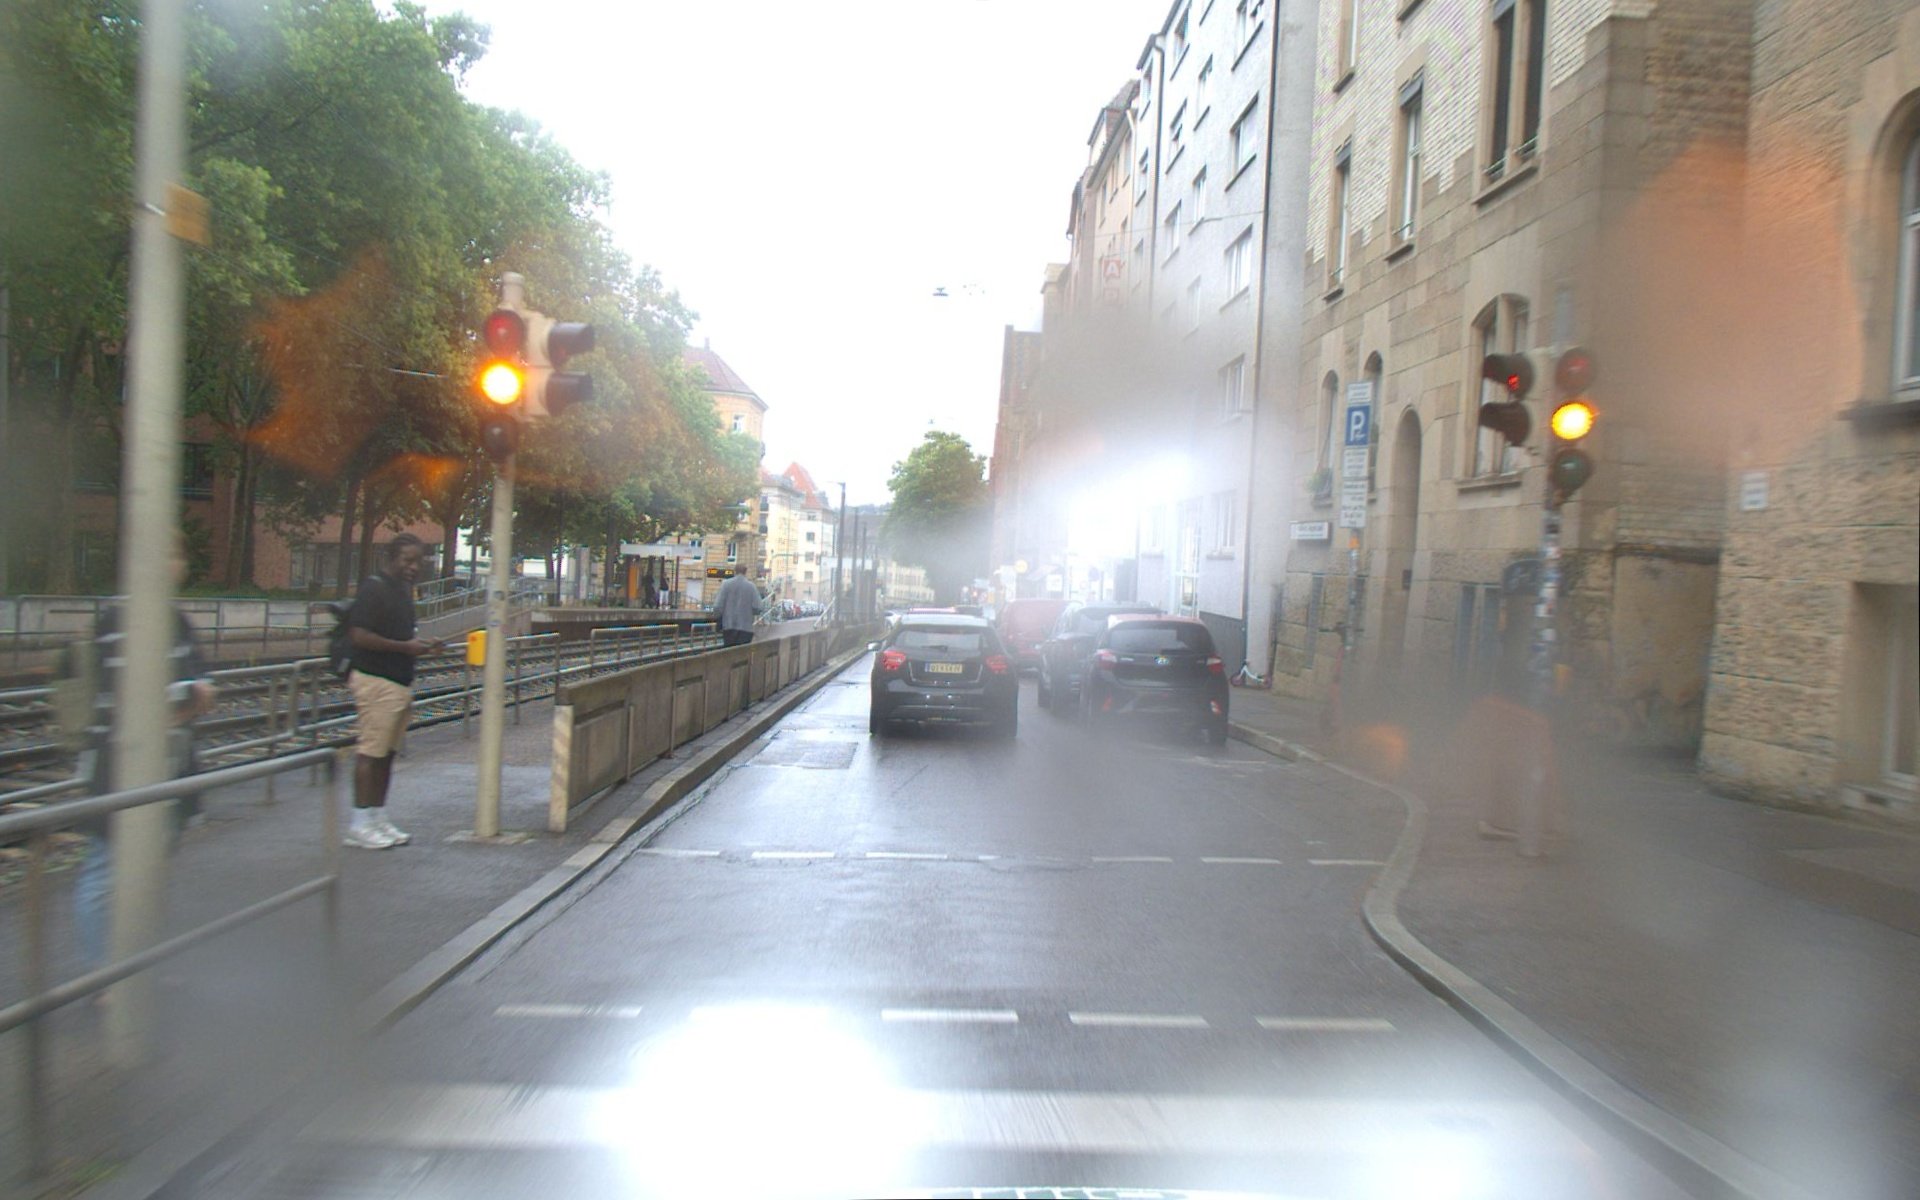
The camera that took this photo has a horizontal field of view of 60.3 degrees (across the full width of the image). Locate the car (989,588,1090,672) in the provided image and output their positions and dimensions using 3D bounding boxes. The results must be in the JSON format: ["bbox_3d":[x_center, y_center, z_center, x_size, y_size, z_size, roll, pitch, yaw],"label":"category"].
[{"bbox_3d":[1.907,0.727,41.232,1.936,1.870,5.242,2,-1,-3],"label":"car"}]

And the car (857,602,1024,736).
[{"bbox_3d":[-0.243,0.786,20.752,1.856,1.414,4.000,2,1,-1],"label":"car"}]

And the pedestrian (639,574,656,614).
[{"bbox_3d":[-13.870,-0.265,73.348,0.551,1.745,0.705,3,0,-3],"label":"pedestrian"}]

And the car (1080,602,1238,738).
[{"bbox_3d":[2.419,0.801,20.825,1.627,1.477,3.610,3,0,2],"label":"car"}]

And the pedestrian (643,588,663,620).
[{"bbox_3d":[-14.164,0.180,76.281,0.762,1.386,0.564,3,0,-4],"label":"pedestrian"}]

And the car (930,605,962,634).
[{"bbox_3d":[-1.017,1.353,116.440,1.895,1.863,4.277,3,0,-4],"label":"car"}]

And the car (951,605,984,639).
[{"bbox_3d":[0.413,1.332,101.014,1.882,1.970,4.684,2,-1,0],"label":"car"}]

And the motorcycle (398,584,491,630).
[{"bbox_3d":[-23.317,0.319,74.889,3.787,1.847,1.005,3,-1,-3],"label":"motorcycle"}]

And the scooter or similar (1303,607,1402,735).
[{"bbox_3d":[4.270,0.765,18.082,0.360,1.338,1.562,0,-2,-14],"label":"scooter or similar"}]

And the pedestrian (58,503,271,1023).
[{"bbox_3d":[-2.679,0.529,5.601,0.423,1.667,0.481,3,0,-2],"label":"pedestrian"}]

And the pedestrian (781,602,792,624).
[{"bbox_3d":[-14.366,1.048,136.927,0.745,1.780,0.645,2,0,0],"label":"pedestrian"}]

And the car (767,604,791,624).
[{"bbox_3d":[-18.110,1.407,165.757,1.953,1.892,3.999,1,0,-1],"label":"car"}]

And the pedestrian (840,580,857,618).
[{"bbox_3d":[-4.848,-0.029,71.899,0.485,1.633,0.637,2,-1,15],"label":"pedestrian"}]

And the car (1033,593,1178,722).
[{"bbox_3d":[2.130,0.798,25.393,1.730,1.738,4.498,2,0,-1],"label":"car"}]

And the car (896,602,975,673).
[{"bbox_3d":[-0.602,0.847,38.479,1.646,1.515,3.610,2,0,-3],"label":"car"}]

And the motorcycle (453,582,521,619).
[{"bbox_3d":[-23.258,0.039,81.404,2.997,1.656,1.005,3,-1,-3],"label":"motorcycle"}]

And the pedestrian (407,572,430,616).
[{"bbox_3d":[-25.373,-0.272,77.500,0.718,2.049,0.980,3,-1,-3],"label":"pedestrian"}]

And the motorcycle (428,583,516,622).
[{"bbox_3d":[-23.065,0.106,78.267,3.787,1.633,1.005,3,-1,-3],"label":"motorcycle"}]

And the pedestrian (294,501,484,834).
[{"bbox_3d":[-3.135,0.352,9.106,0.637,1.734,0.661,3,0,21],"label":"pedestrian"}]

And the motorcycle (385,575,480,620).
[{"bbox_3d":[-23.357,-0.110,73.346,3.787,1.805,1.005,3,-1,-3],"label":"motorcycle"}]

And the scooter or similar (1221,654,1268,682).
[{"bbox_3d":[5.508,1.318,32.029,0.842,0.515,0.257,1,-1,29],"label":"scooter or similar"}]

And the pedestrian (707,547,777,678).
[{"bbox_3d":[-3.145,0.177,23.934,0.842,1.830,0.787,3,0,-2],"label":"pedestrian"}]

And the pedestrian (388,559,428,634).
[{"bbox_3d":[-12.914,-0.078,38.718,0.644,1.691,0.687,3,2,-2],"label":"pedestrian"}]
